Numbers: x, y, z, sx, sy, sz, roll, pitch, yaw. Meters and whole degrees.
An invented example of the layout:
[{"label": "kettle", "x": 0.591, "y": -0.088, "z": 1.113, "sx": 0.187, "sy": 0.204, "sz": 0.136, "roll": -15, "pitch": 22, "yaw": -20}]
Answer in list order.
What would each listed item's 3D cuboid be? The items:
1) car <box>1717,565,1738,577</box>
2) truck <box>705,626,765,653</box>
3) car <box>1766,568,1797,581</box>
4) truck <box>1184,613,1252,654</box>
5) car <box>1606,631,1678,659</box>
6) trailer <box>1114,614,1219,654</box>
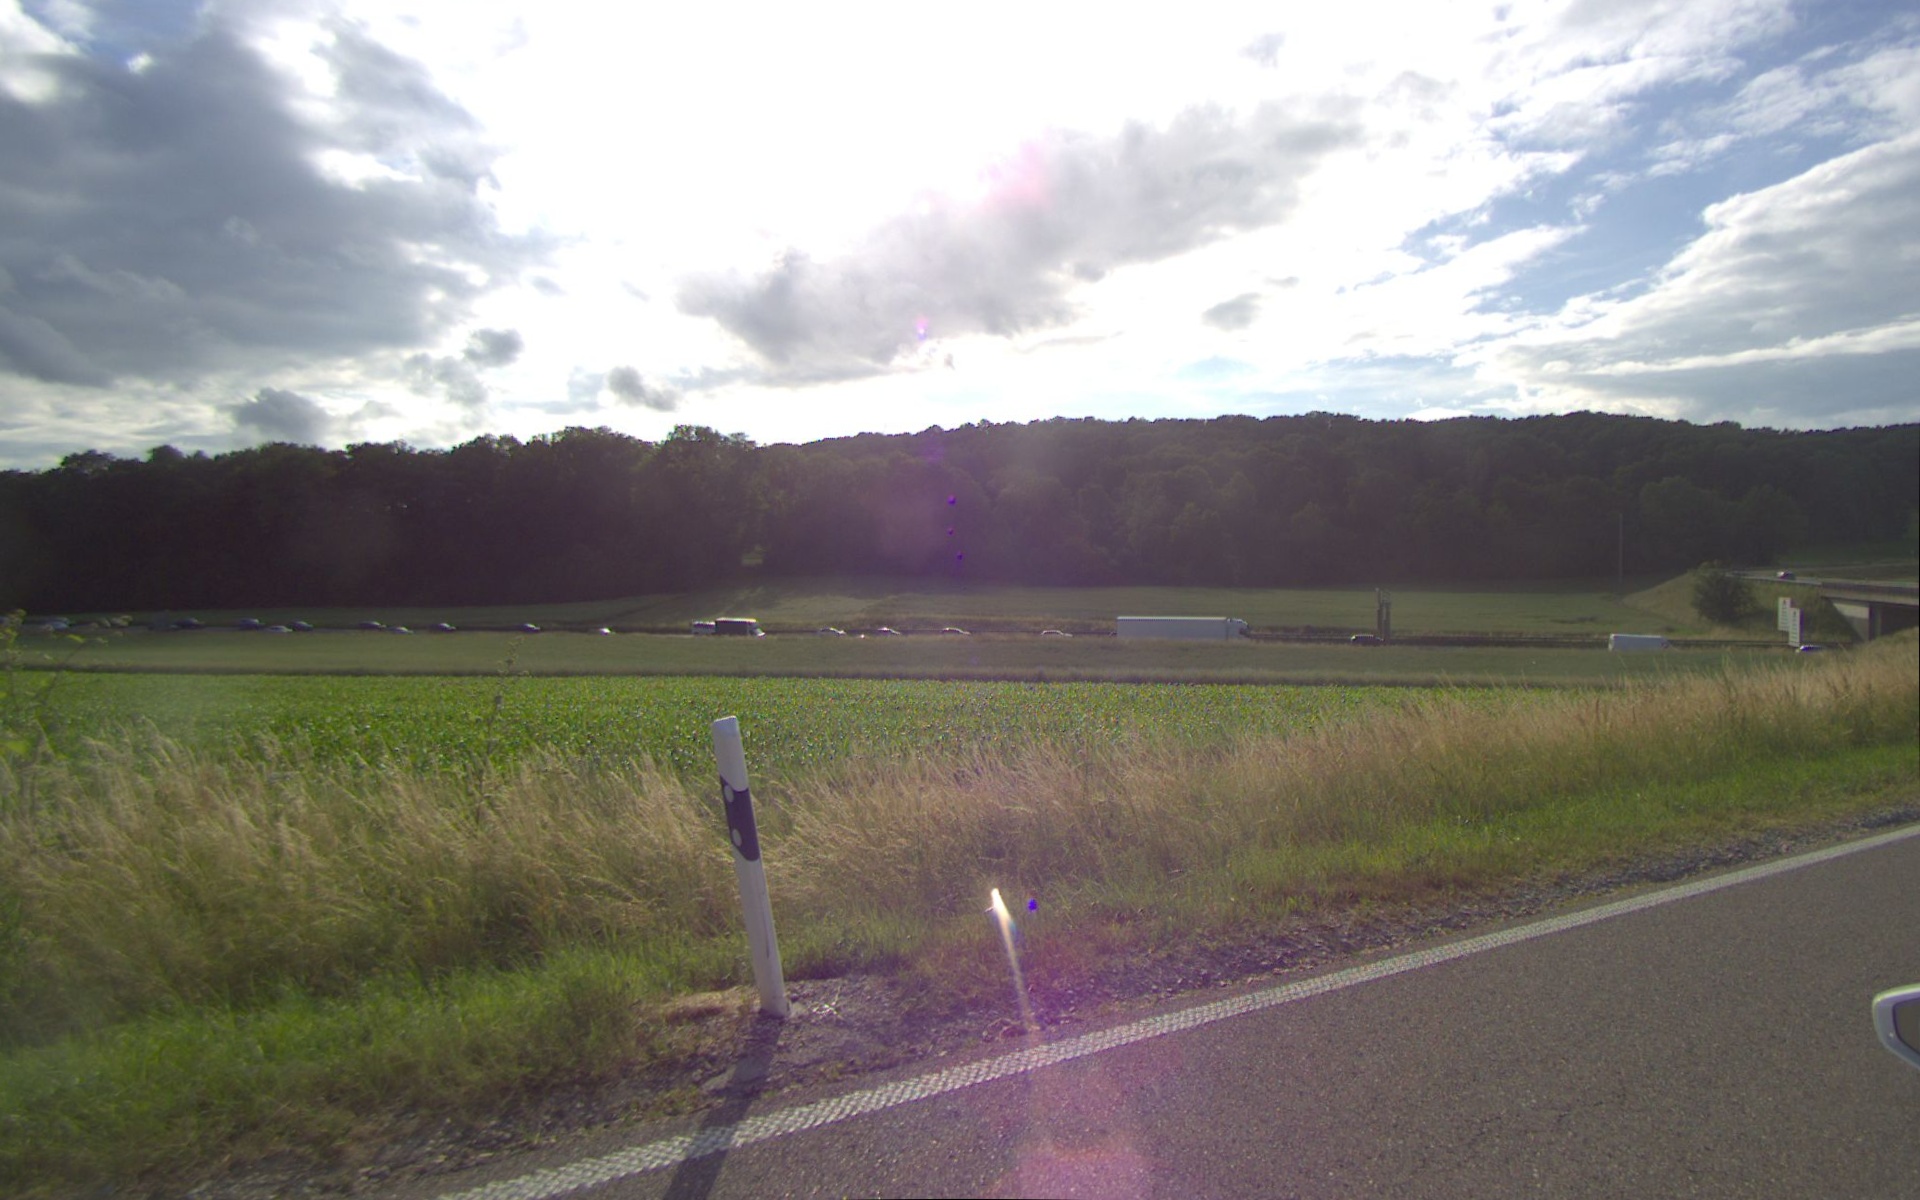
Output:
[{"label": "car", "x": 128.924, "y": -4.893, "z": 168.768, "sx": 1.963, "sy": 1.795, "sz": 3.995, "roll": -4, "pitch": -1, "yaw": 26}, {"label": "truck", "x": -32.187, "y": 5.712, "z": 143.588, "sx": 8.331, "sy": 3.451, "sz": 2.123, "roll": -3, "pitch": 1, "yaw": 21}, {"label": "car", "x": 116.247, "y": -3.572, "z": 142.216, "sx": 1.960, "sy": 1.702, "sz": 4.177, "roll": 3, "pitch": 3, "yaw": 19}, {"label": "truck", "x": 31.581, "y": 4.085, "z": 123.088, "sx": 7.895, "sy": 4.529, "sz": 3.029, "roll": -1, "pitch": 5, "yaw": 16}, {"label": "car", "x": 73.116, "y": 4.839, "z": 107.825, "sx": 6.003, "sy": 2.620, "sz": 2.372, "roll": -2, "pitch": 6, "yaw": 20}, {"label": "trailer", "x": 25.601, "y": 4.259, "z": 124.810, "sx": 12.472, "sy": 4.529, "sz": 3.032, "roll": -1, "pitch": 5, "yaw": 16}]
